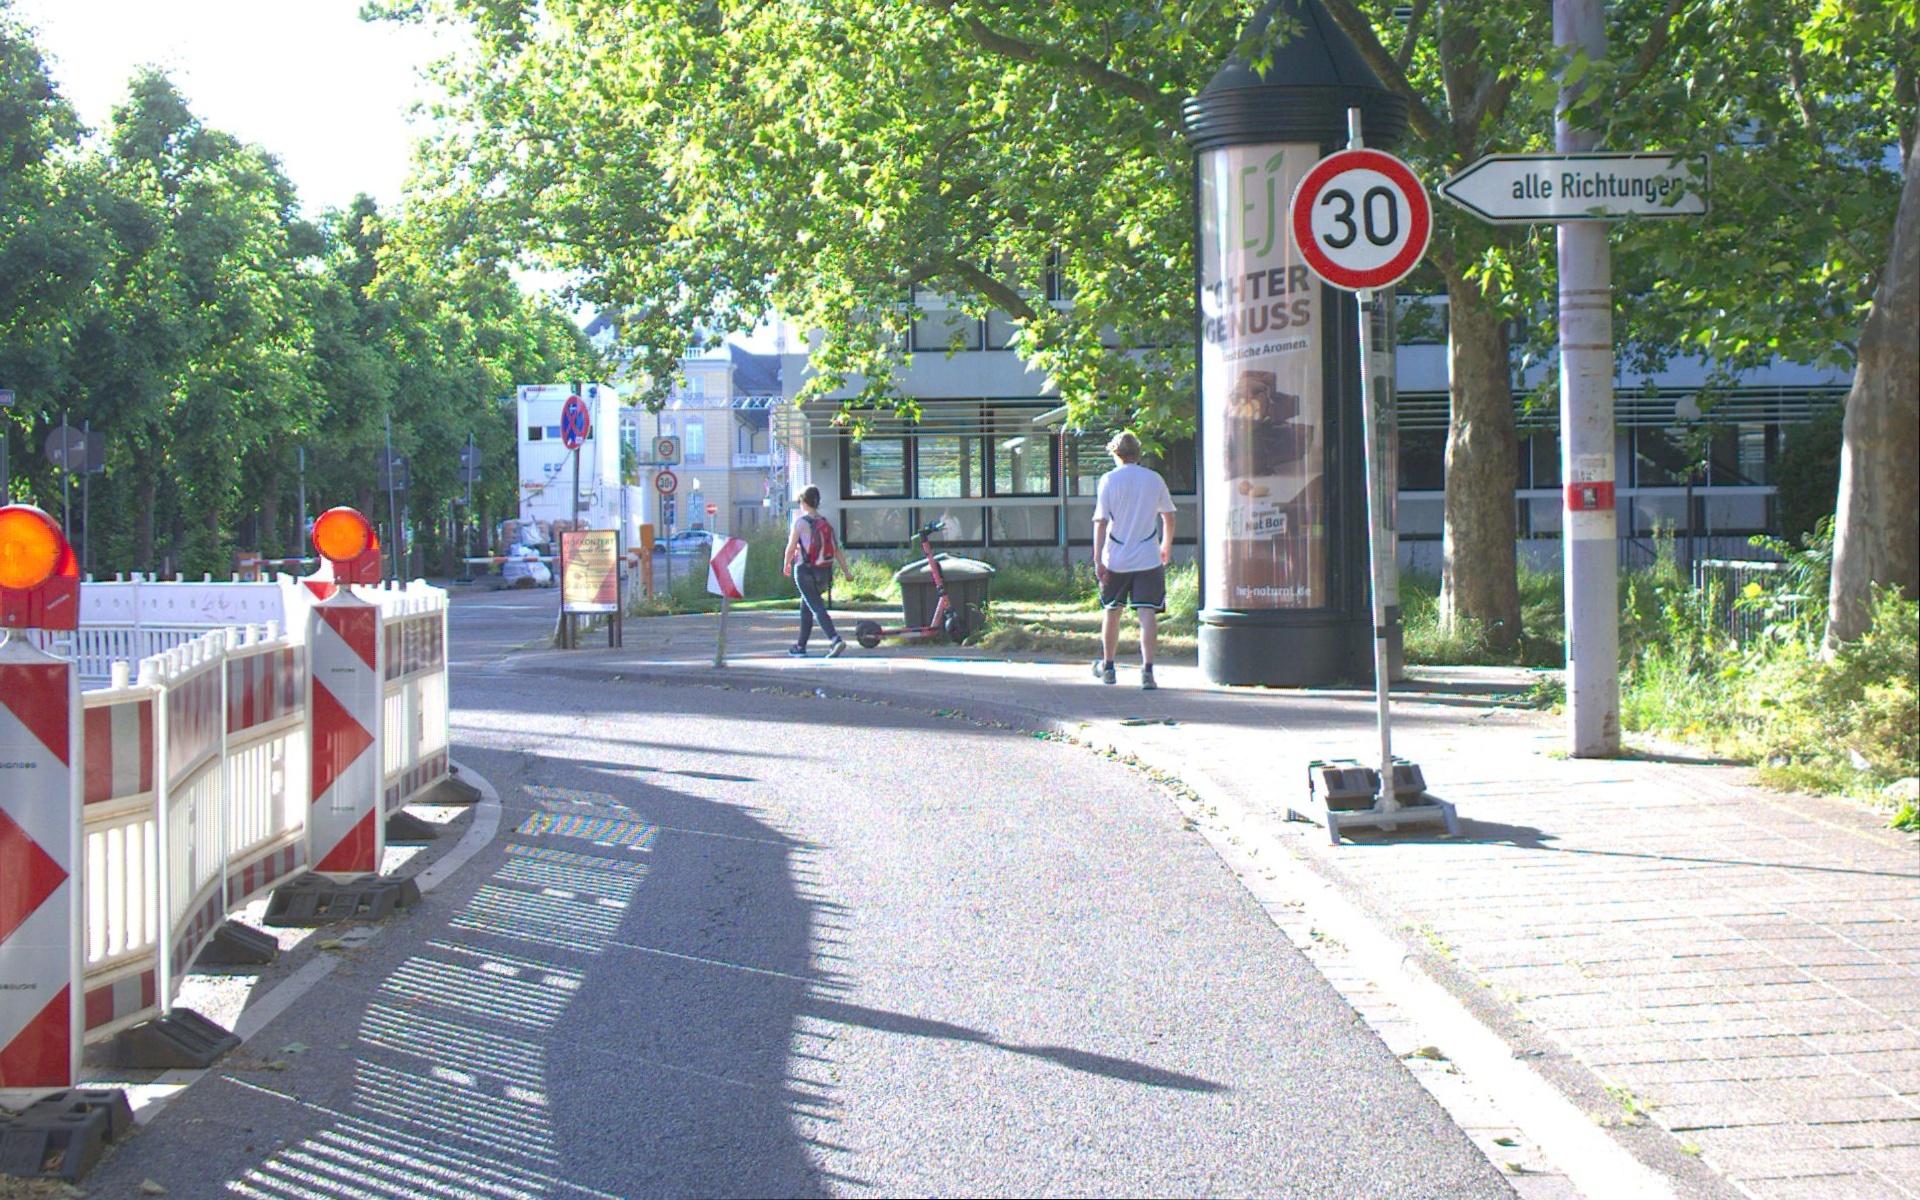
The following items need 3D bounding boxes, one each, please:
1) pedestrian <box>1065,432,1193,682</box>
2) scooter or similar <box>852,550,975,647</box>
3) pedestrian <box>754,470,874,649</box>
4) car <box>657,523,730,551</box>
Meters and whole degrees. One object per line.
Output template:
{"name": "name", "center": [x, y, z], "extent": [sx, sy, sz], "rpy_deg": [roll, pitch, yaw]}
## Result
{"name": "pedestrian", "center": [1.248, -0.326, 25.561], "extent": [0.745, 1.806, 1.134], "rpy_deg": [1, 1, -6]}
{"name": "scooter or similar", "center": [-0.468, -0.014, 34.381], "extent": [1.146, 0.910, 0.419], "rpy_deg": [-2, 0, -8]}
{"name": "pedestrian", "center": [-1.343, -0.372, 31.638], "extent": [0.708, 1.618, 0.939], "rpy_deg": [-1, 1, -32]}
{"name": "car", "center": [-17.104, -4.041, 220.847], "extent": [4.557, 1.784, 2.000], "rpy_deg": [0, 1, -2]}
